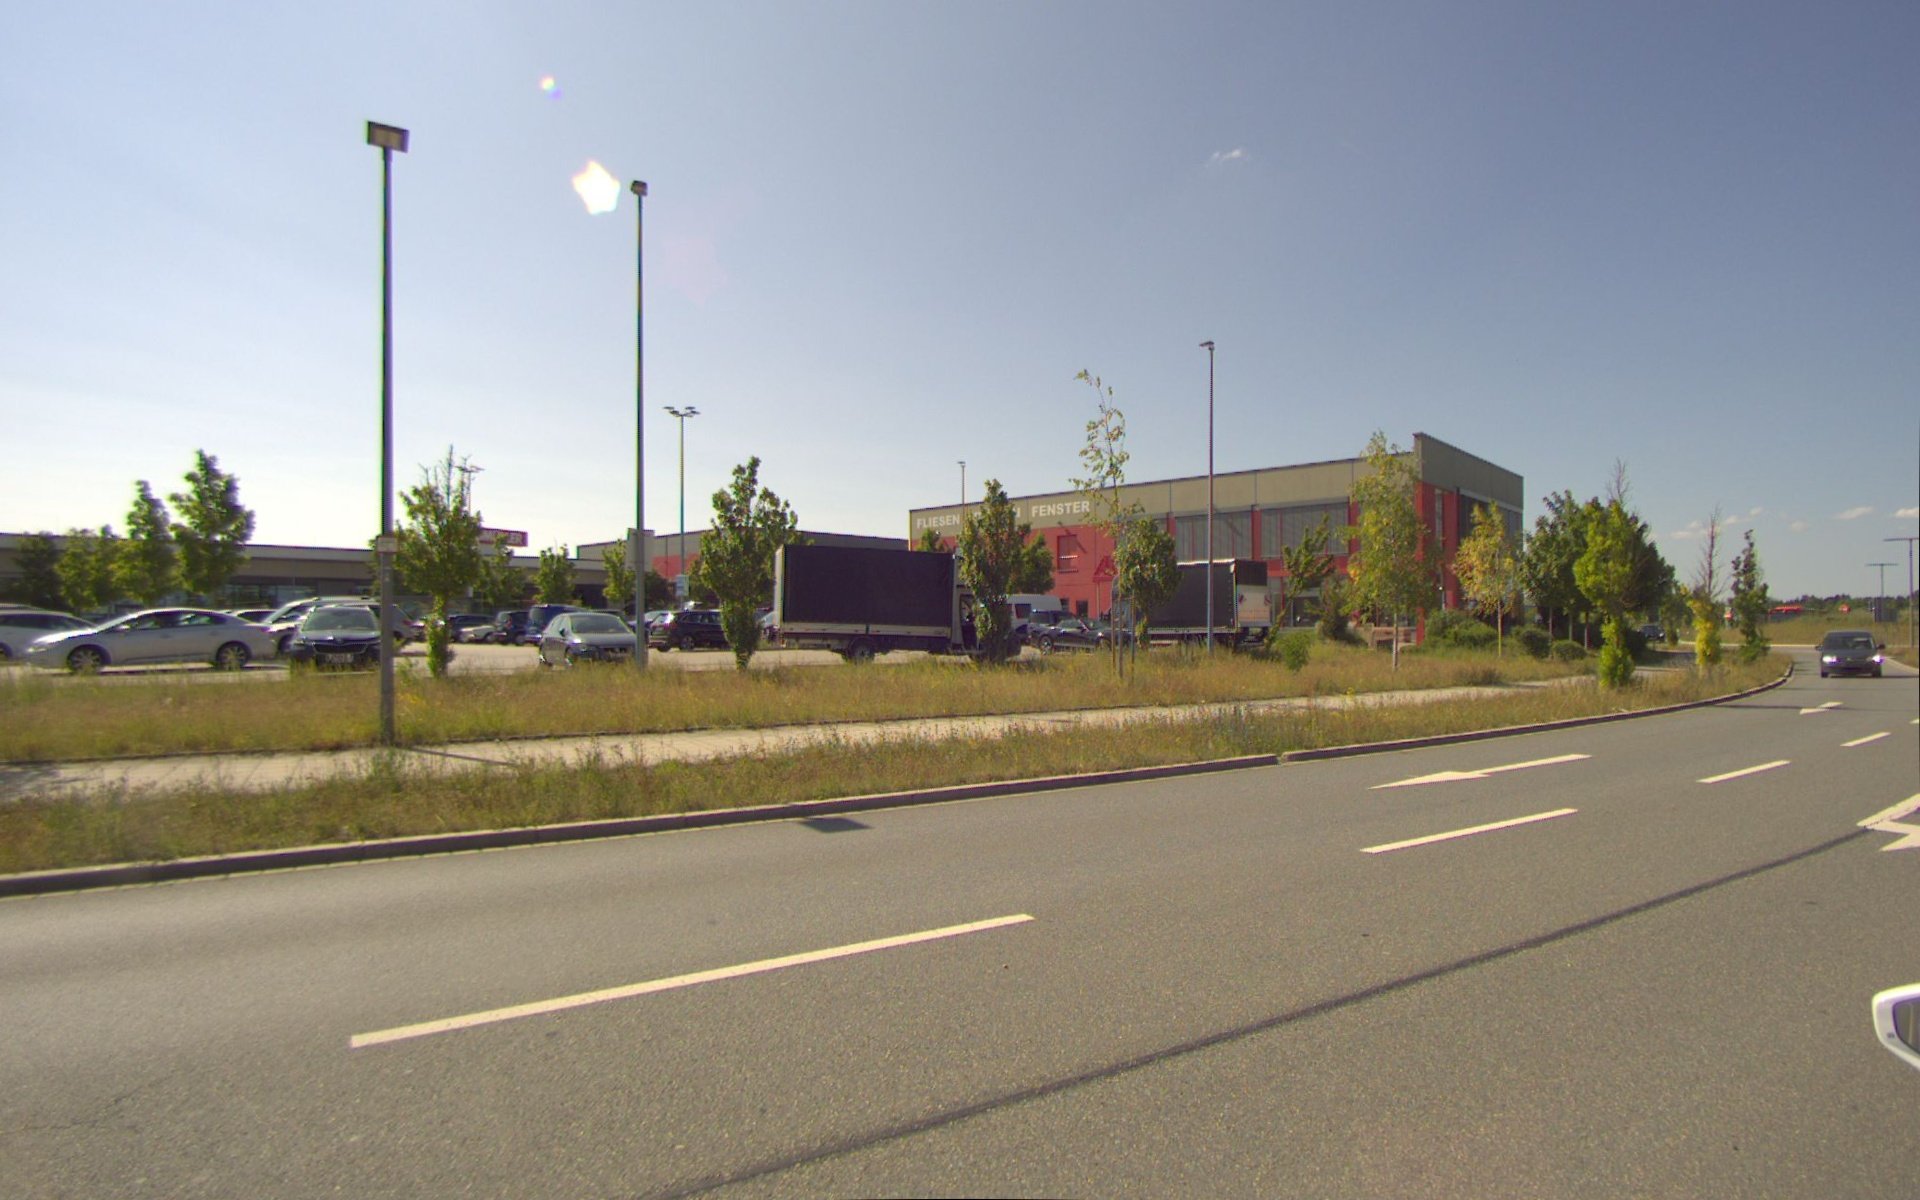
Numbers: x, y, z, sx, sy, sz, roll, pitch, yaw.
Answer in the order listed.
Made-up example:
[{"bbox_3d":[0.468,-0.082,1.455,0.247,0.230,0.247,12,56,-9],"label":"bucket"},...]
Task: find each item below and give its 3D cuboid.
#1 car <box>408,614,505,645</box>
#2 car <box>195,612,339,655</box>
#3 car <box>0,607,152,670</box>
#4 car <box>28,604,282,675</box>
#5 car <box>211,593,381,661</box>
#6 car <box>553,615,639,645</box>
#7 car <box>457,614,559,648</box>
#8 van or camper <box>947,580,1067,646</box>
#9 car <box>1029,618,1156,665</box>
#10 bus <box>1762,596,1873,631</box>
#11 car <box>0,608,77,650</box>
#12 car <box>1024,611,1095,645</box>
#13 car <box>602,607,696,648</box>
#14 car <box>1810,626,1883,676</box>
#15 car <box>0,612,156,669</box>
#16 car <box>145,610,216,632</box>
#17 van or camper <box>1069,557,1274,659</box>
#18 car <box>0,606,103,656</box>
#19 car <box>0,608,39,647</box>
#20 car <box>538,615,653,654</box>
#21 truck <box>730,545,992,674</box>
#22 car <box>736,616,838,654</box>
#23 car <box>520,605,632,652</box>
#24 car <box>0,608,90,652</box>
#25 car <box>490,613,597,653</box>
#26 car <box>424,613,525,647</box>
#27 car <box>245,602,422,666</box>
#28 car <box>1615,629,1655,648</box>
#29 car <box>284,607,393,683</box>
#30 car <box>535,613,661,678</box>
[{"bbox_3d":[-27.270,1.598,54.517,1.812,1.644,4.357,-1,-2,43],"label":"car"},{"bbox_3d":[-26.935,1.289,39.155,1.812,1.603,4.357,-1,-2,43],"label":"car"},{"bbox_3d":[-27.568,1.150,30.595,1.890,1.827,4.357,-1,-2,43],"label":"car"},{"bbox_3d":[-19.241,0.923,24.160,1.813,1.532,4.592,-1,-2,45],"label":"car"},{"bbox_3d":[-21.702,0.893,32.951,1.812,2.092,4.357,-1,-2,43],"label":"car"},{"bbox_3d":[-20.859,1.712,57.726,1.811,1.634,4.361,-1,-2,40],"label":"car"},{"bbox_3d":[-22.811,1.562,50.840,1.812,1.613,4.357,-1,-2,43],"label":"car"},{"bbox_3d":[2.620,0.751,53.437,2.402,3.314,7.198,-1,-2,41],"label":"van or camper"},{"bbox_3d":[4.632,1.426,35.568,1.825,1.572,4.326,2,-2,-43],"label":"car"},{"bbox_3d":[86.656,1.362,101.507,12.012,3.120,2.785,-2,-1,-19],"label":"bus"},{"bbox_3d":[-40.874,1.246,42.977,1.888,1.740,4.363,-1,-2,38],"label":"car"},{"bbox_3d":[5.154,1.443,51.646,1.641,1.693,4.065,-1,-2,39],"label":"car"},{"bbox_3d":[-15.892,1.414,51.473,1.811,2.021,4.361,-1,-2,40],"label":"car"},{"bbox_3d":[34.475,1.953,39.158,1.928,1.818,4.406,-3,-3,40],"label":"car"},{"bbox_3d":[-25.724,1.133,28.461,1.812,1.532,4.357,-1,-2,43],"label":"car"},{"bbox_3d":[-63.837,1.742,82.303,1.890,1.814,4.357,-1,-2,43],"label":"car"},{"bbox_3d":[7.841,0.358,38.196,2.537,3.514,7.622,1,-2,-42],"label":"van or camper"},{"bbox_3d":[-35.282,1.172,37.759,1.888,1.817,4.363,-1,-2,38],"label":"car"},{"bbox_3d":[-45.531,1.266,46.239,1.888,1.783,4.363,-1,-2,38],"label":"car"},{"bbox_3d":[-15.648,1.460,43.333,1.811,1.583,4.361,-1,-2,40],"label":"car"},{"bbox_3d":[-2.907,0.319,29.321,7.368,3.510,2.318,1,-1,-15],"label":"truck"},{"bbox_3d":[-7.667,1.542,44.752,1.811,1.583,4.361,-1,-2,40],"label":"car"},{"bbox_3d":[-17.266,1.274,45.324,1.812,2.021,4.357,-1,-2,43],"label":"car"},{"bbox_3d":[-38.874,1.221,41.355,1.888,1.747,4.363,-1,-2,38],"label":"car"},{"bbox_3d":[-19.672,1.552,47.553,1.812,1.796,4.357,-1,-2,43],"label":"car"},{"bbox_3d":[-25.101,1.551,52.006,1.812,1.654,4.357,-1,-2,43],"label":"car"},{"bbox_3d":[-19.404,1.044,31.251,1.812,1.847,4.357,-1,-2,43],"label":"car"},{"bbox_3d":[58.667,3.364,87.361,1.729,1.563,4.242,-3,-3,19],"label":"car"},{"bbox_3d":[-13.526,0.938,21.876,1.818,1.477,4.550,1,-2,-32],"label":"car"},{"bbox_3d":[-8.852,1.057,24.325,1.954,1.402,4.399,1,-2,-32],"label":"car"}]
